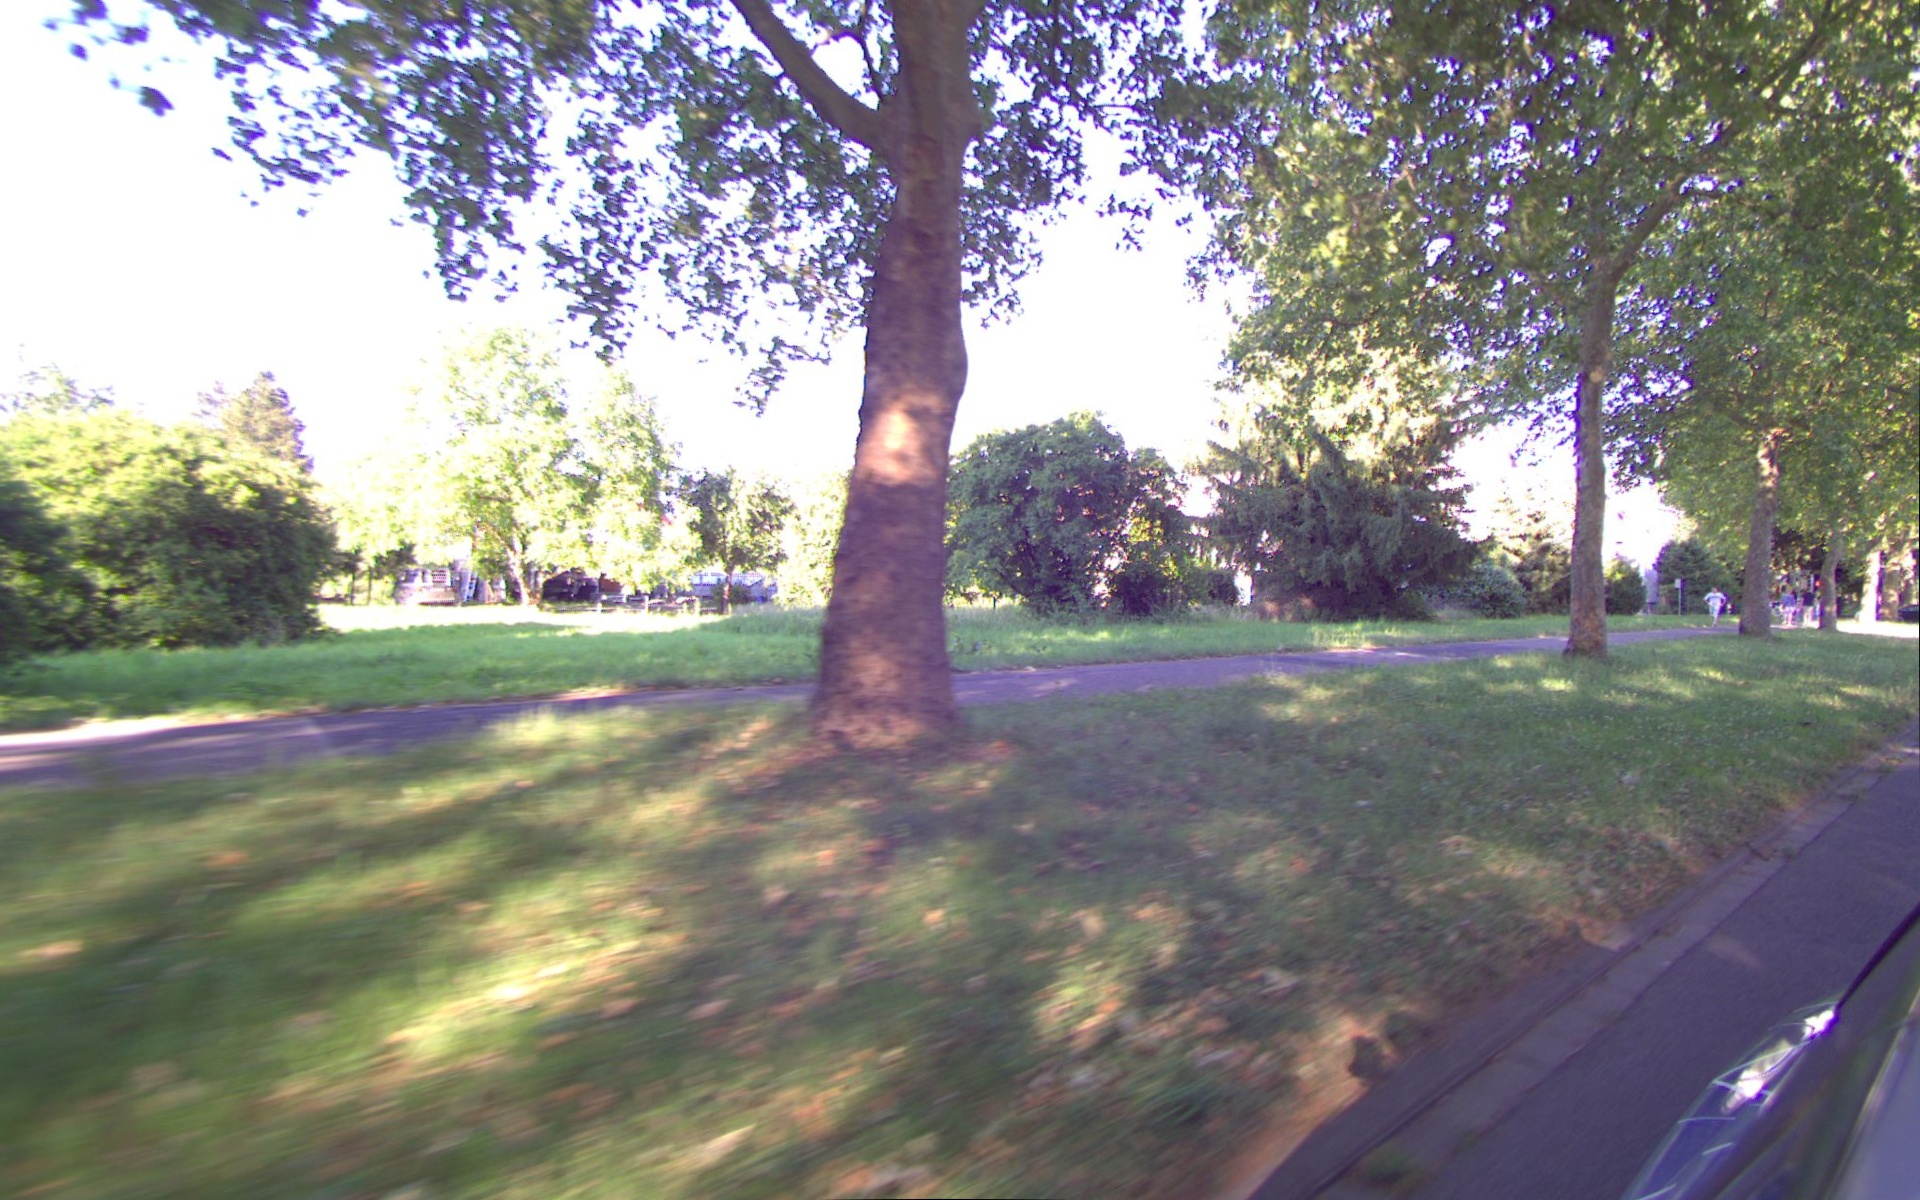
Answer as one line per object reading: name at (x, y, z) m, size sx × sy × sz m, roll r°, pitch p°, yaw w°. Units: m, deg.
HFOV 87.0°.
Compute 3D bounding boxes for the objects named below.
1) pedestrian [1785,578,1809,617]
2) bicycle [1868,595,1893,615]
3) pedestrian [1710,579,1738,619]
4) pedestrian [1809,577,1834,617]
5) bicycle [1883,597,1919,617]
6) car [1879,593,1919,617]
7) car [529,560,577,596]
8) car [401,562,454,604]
pedestrian at (40.512, -0.114, 48.969) m, size 0.788 × 1.870 × 0.756 m, roll 1°, pitch 1°, yaw -41°
bicycle at (52.543, 0.286, 57.784) m, size 0.442 × 1.096 × 1.990 m, roll 3°, pitch 1°, yaw 25°
pedestrian at (32.369, -0.055, 42.854) m, size 0.923 × 1.670 × 0.780 m, roll 0°, pitch 1°, yaw -44°
pedestrian at (40.985, -0.132, 48.139) m, size 0.773 × 1.869 × 0.763 m, roll 1°, pitch 1°, yaw -41°
bicycle at (53.917, 0.403, 57.890) m, size 0.437 × 1.048 × 1.723 m, roll 3°, pitch 1°, yaw -9°
car at (61.809, 0.370, 64.889) m, size 1.700 × 1.482 × 4.066 m, roll 0°, pitch 2°, yaw -38°
car at (-23.697, -1.268, 58.881) m, size 1.960 × 2.039 × 4.004 m, roll -2°, pitch 1°, yaw -30°
car at (-26.531, -0.849, 50.371) m, size 1.897 × 1.972 × 4.001 m, roll -2°, pitch 1°, yaw -33°
